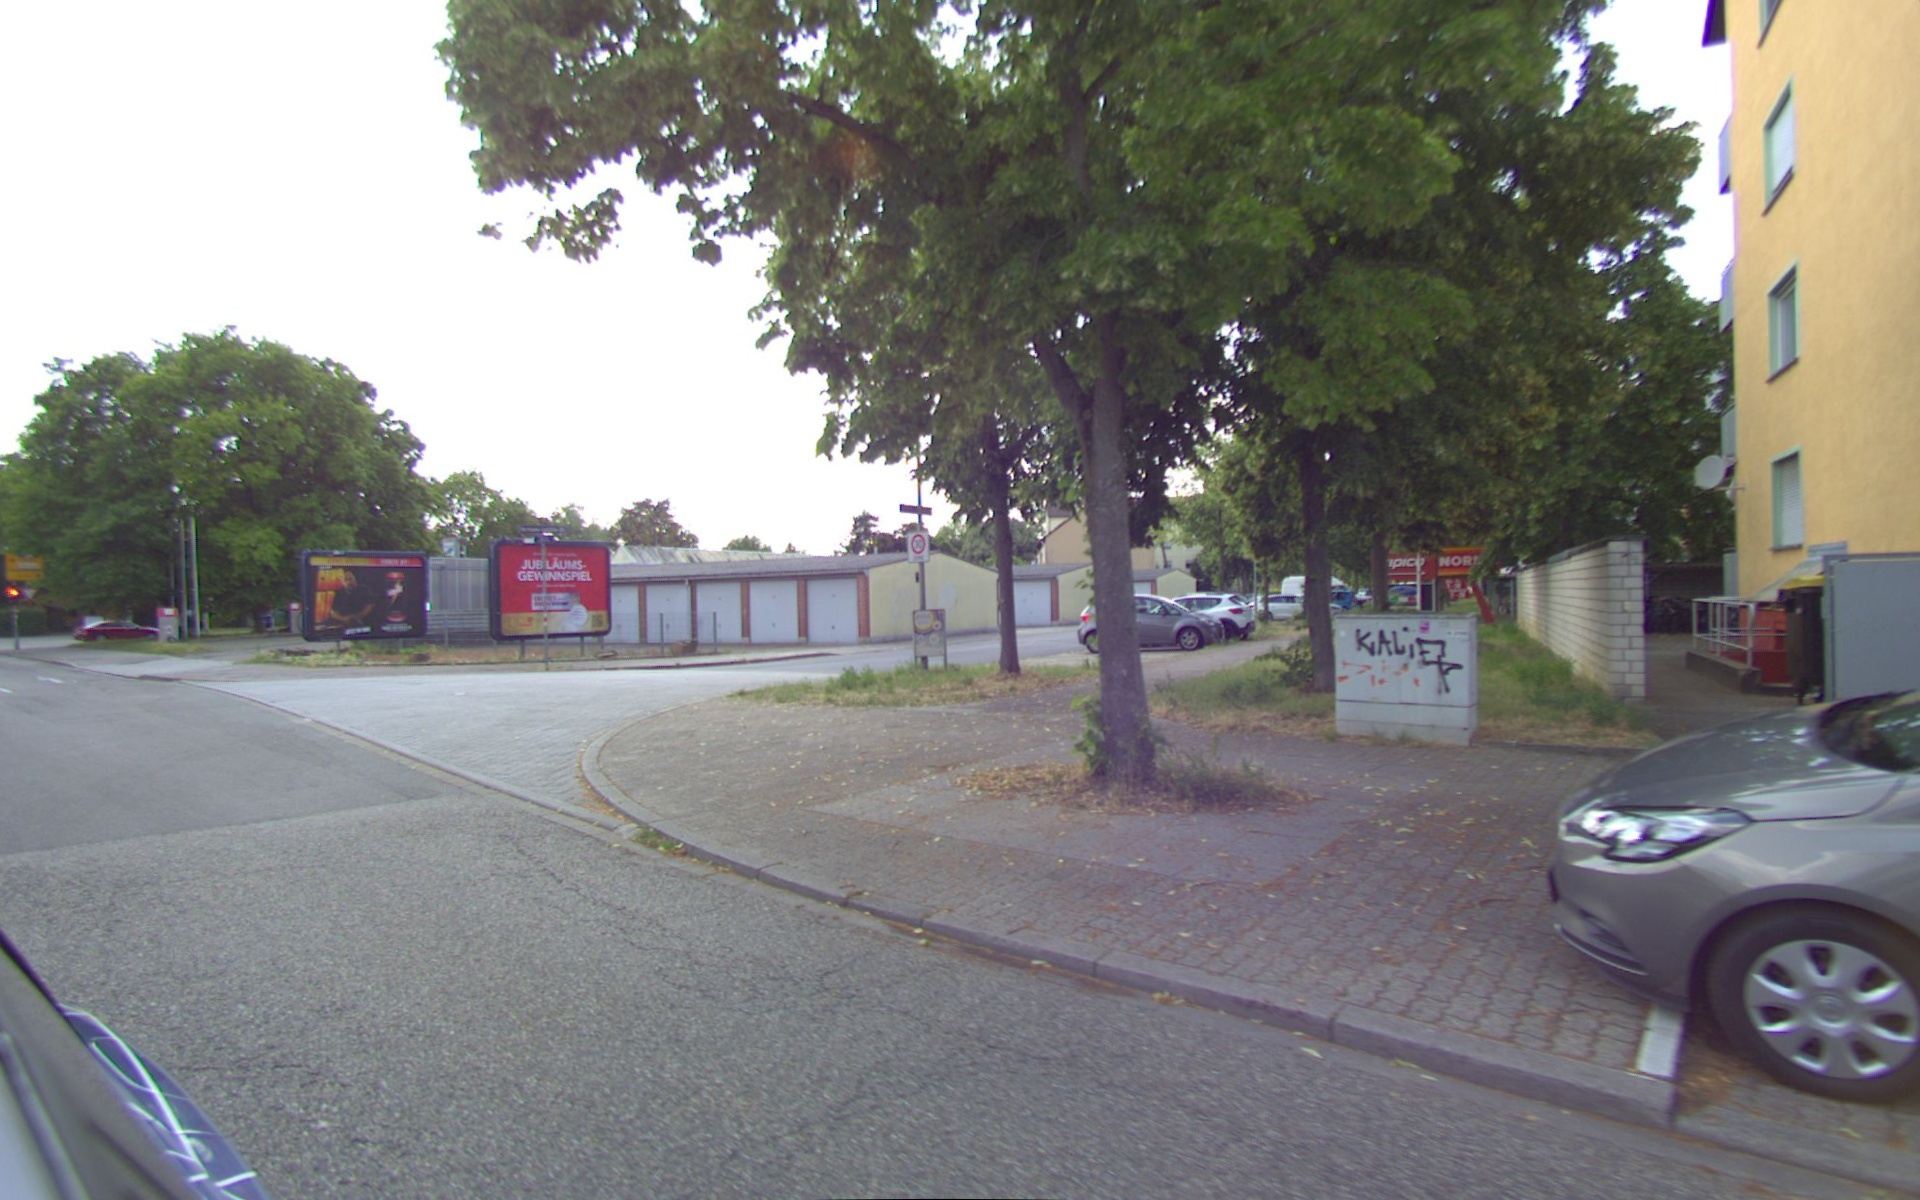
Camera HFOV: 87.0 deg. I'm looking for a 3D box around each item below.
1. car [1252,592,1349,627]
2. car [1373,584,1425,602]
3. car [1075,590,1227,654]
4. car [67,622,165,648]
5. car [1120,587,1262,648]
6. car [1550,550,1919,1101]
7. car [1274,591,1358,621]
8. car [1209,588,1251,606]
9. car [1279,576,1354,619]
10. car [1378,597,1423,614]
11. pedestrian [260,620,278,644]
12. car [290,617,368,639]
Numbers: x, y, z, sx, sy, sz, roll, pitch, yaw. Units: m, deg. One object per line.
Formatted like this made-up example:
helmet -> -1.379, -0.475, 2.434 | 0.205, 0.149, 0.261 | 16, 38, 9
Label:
car -> 16.835, 0.470, 50.109 | 4.245, 1.493, 1.634 | -4, -2, 31
car -> 55.482, -0.874, 127.960 | 5.840, 2.183, 1.723 | -2, -1, 28
car -> 5.336, 0.637, 28.284 | 3.876, 1.550, 1.639 | -3, -2, 23
car -> -53.610, 2.189, 64.411 | 1.720, 1.473, 4.493 | 1, 0, 27
car -> 6.927, 0.549, 30.398 | 3.876, 1.603, 1.639 | -3, -2, 23
car -> 4.003, 0.602, 2.653 | 3.984, 1.497, 1.666 | 0, 3, 43
car -> 20.428, 0.378, 58.161 | 4.246, 1.493, 1.634 | -4, -2, 32
car -> 25.656, -0.287, 96.326 | 3.612, 1.576, 1.472 | -2, -1, 28
car -> 22.554, -0.124, 64.072 | 4.237, 2.547, 1.837 | -1, -1, 27
car -> 43.814, 0.564, 100.694 | 4.011, 1.690, 1.581 | -2, -1, 28
pedestrian -> -47.154, 2.181, 69.076 | 0.720, 1.543, 0.757 | -1, -1, 11
car -> -47.604, 2.077, 76.450 | 1.793, 1.508, 4.828 | 1, 0, 27
